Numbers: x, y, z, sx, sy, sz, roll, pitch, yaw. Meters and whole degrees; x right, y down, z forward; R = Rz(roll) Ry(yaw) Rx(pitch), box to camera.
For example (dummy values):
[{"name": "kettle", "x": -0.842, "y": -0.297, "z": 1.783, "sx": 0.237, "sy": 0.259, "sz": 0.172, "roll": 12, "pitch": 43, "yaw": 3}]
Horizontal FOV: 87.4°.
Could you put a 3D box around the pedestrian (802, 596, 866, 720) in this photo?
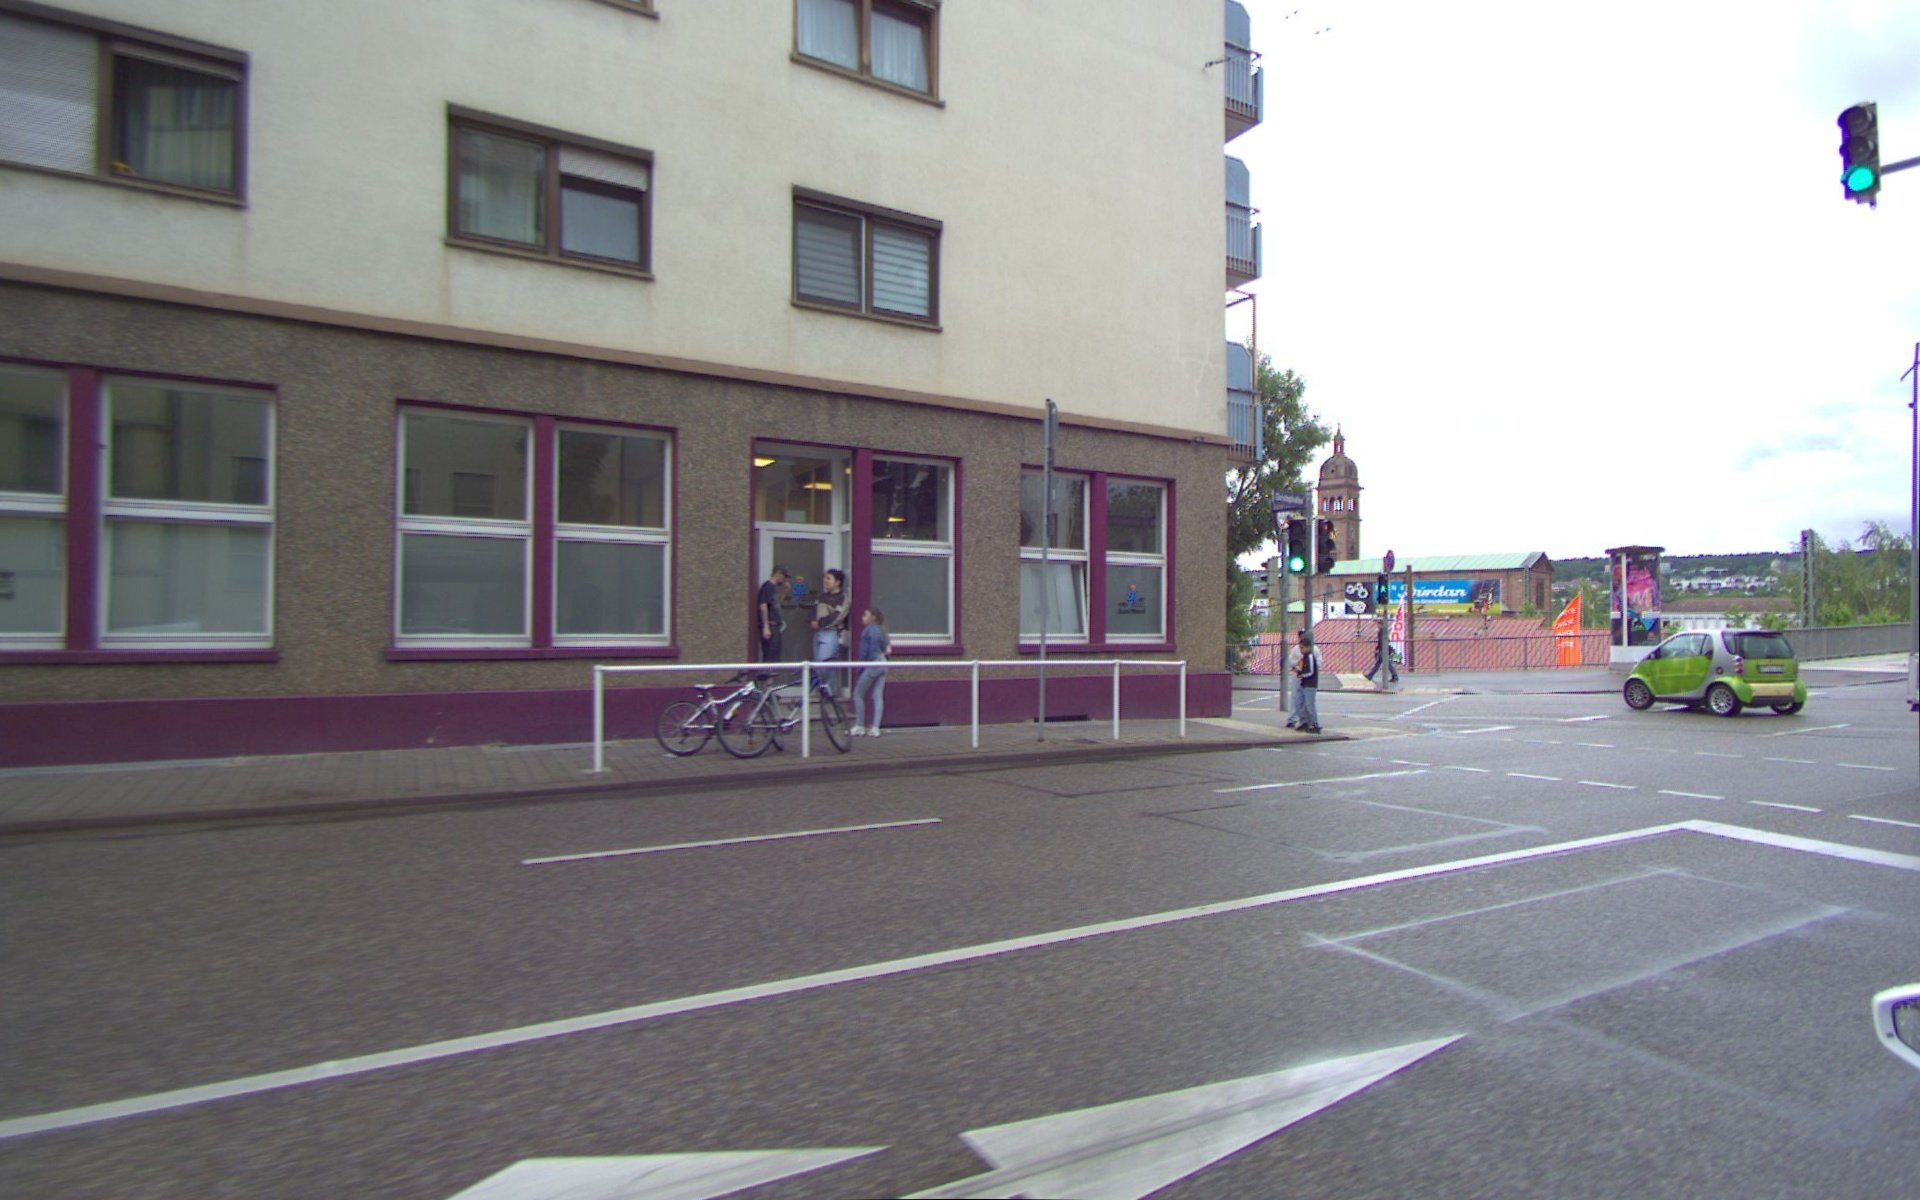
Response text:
[{"name": "pedestrian", "x": -1.691, "y": 0.764, "z": 13.478, "sx": 0.582, "sy": 1.598, "sz": 0.770, "roll": 2, "pitch": -2, "yaw": -30}]

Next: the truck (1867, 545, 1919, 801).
[{"name": "truck", "x": 10.692, "y": 0.678, "z": 9.478, "sx": 5.269, "sy": 2.157, "sz": 2.381, "roll": 2, "pitch": -2, "yaw": -39}]

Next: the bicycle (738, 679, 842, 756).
[{"name": "bicycle", "x": -1.857, "y": 1.274, "z": 11.021, "sx": 1.098, "sy": 0.793, "sz": 0.263, "roll": 2, "pitch": -2, "yaw": -30}]

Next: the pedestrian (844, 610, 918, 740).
[{"name": "pedestrian", "x": -0.999, "y": 0.931, "z": 12.674, "sx": 0.732, "sy": 1.574, "sz": 0.571, "roll": 2, "pitch": -2, "yaw": -33}]

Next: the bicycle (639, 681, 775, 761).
[{"name": "bicycle", "x": -2.721, "y": 1.292, "z": 10.873, "sx": 1.405, "sy": 0.793, "sz": 0.263, "roll": 2, "pitch": -2, "yaw": -30}]

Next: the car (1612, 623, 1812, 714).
[{"name": "car", "x": 13.953, "y": 1.240, "z": 18.781, "sx": 1.505, "sy": 1.567, "sz": 2.660, "roll": 1, "pitch": -2, "yaw": -13}]

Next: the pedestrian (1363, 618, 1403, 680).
[{"name": "pedestrian", "x": 12.345, "y": 1.421, "z": 29.307, "sx": 1.052, "sy": 1.780, "sz": 1.062, "roll": 0, "pitch": -2, "yaw": 26}]

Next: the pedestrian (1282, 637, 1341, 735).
[{"name": "pedestrian", "x": 5.204, "y": 1.252, "z": 14.885, "sx": 0.641, "sy": 1.406, "sz": 0.542, "roll": 2, "pitch": -2, "yaw": -28}]

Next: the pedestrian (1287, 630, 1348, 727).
[{"name": "pedestrian", "x": 5.599, "y": 1.215, "z": 15.747, "sx": 0.653, "sy": 1.477, "sz": 0.639, "roll": 2, "pitch": -2, "yaw": -31}]

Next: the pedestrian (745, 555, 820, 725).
[{"name": "pedestrian", "x": -2.312, "y": 0.516, "z": 13.088, "sx": 0.722, "sy": 2.127, "sz": 0.707, "roll": 2, "pitch": -2, "yaw": -33}]
